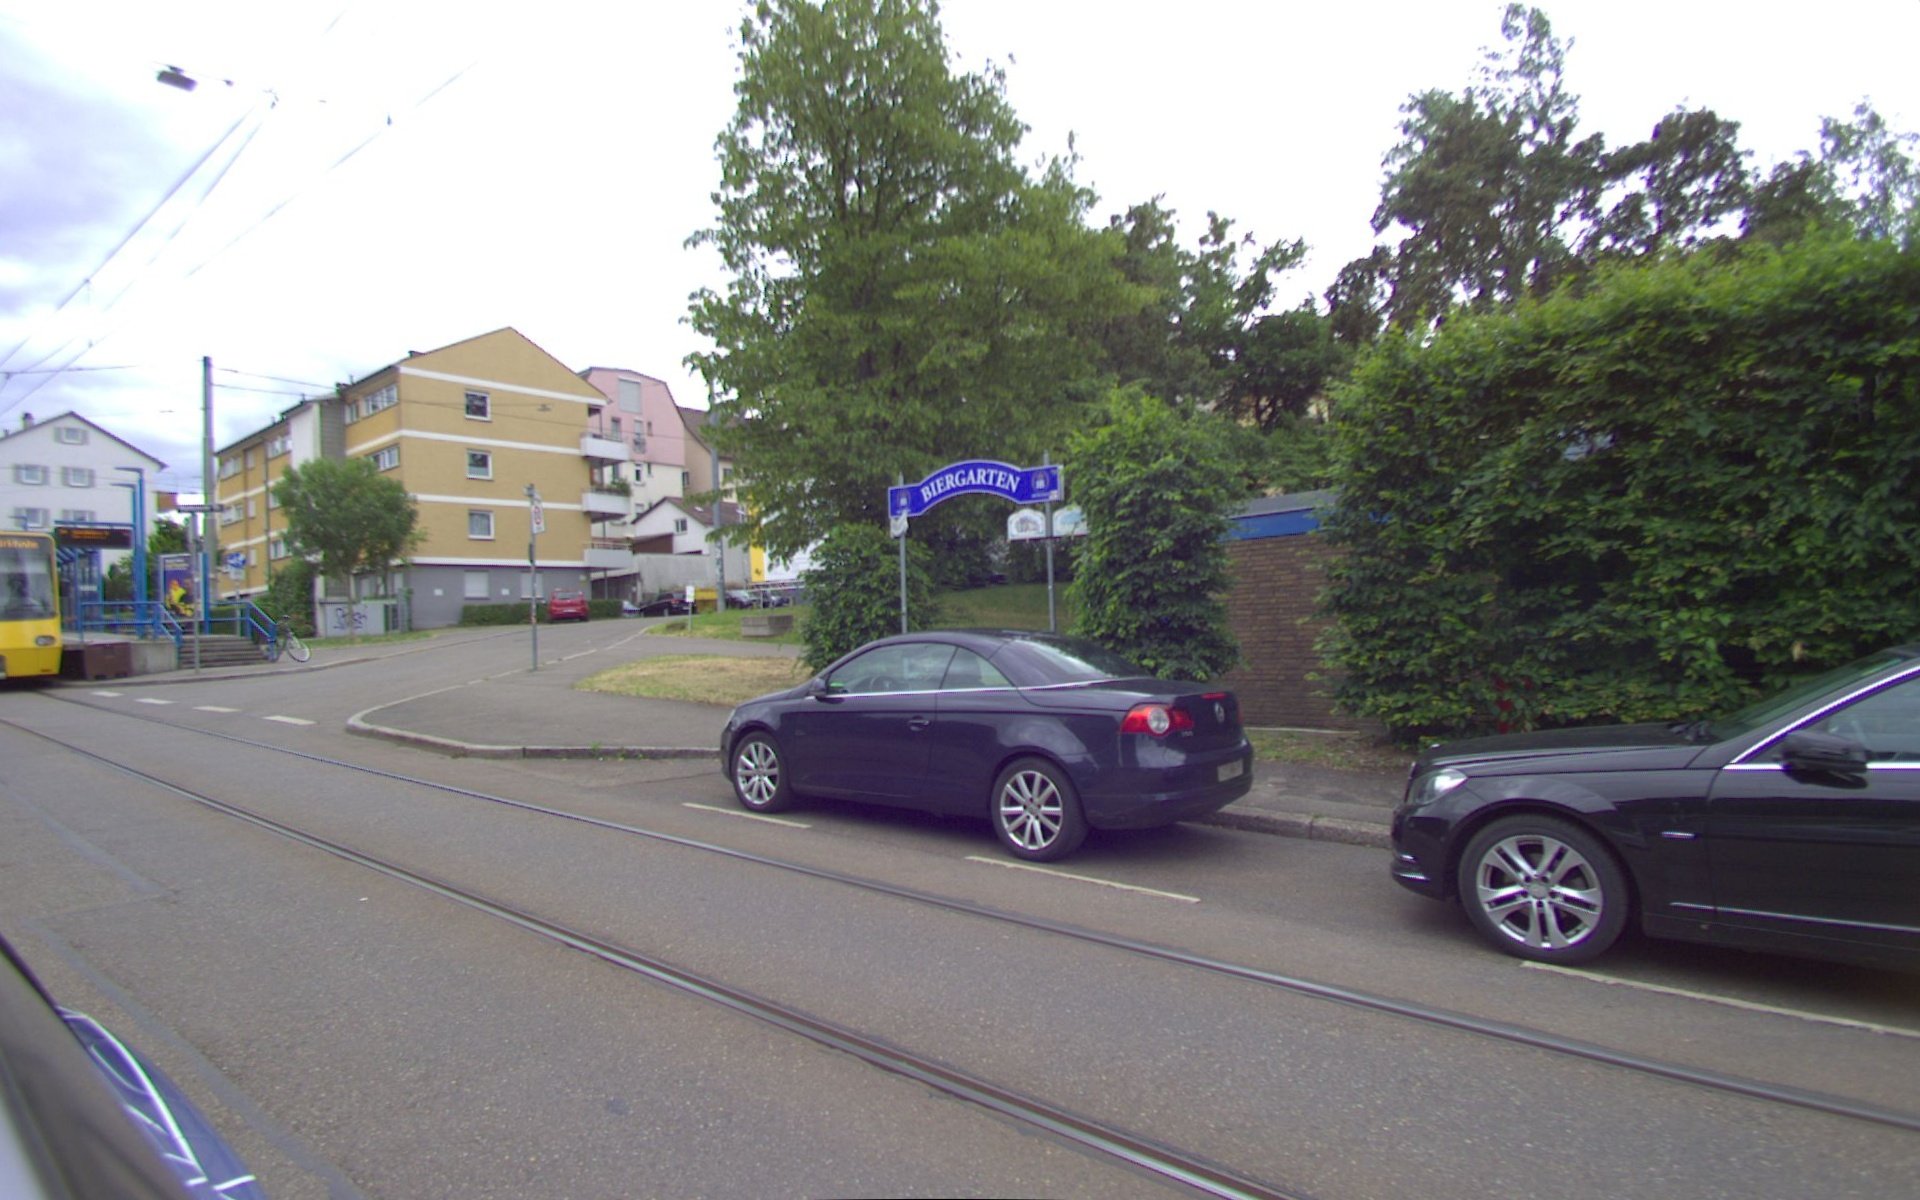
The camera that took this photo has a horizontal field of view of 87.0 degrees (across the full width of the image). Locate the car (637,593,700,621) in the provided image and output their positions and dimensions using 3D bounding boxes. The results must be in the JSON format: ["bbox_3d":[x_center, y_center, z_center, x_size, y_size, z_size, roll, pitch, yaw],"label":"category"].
[{"bbox_3d":[-16.004,0.398,55.495,1.814,1.475,4.006,-1,0,-41],"label":"car"}]

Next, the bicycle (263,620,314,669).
[{"bbox_3d":[-17.060,1.112,25.697,1.487,1.190,0.704,0,0,40],"label":"bicycle"}]

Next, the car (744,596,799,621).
[{"bbox_3d":[-11.521,0.535,61.722,1.812,1.475,4.010,-1,0,-35],"label":"car"}]

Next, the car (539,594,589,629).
[{"bbox_3d":[-17.902,0.522,45.694,1.810,1.475,4.013,-1,0,-25],"label":"car"}]

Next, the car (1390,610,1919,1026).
[{"bbox_3d":[4.201,0.741,3.822,4.435,1.397,1.822,0,0,39],"label":"car"}]

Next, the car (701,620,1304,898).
[{"bbox_3d":[0.127,0.879,7.347,4.156,1.415,1.772,0,-1,39],"label":"car"}]

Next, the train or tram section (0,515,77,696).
[{"bbox_3d":[-24.305,0.206,24.261,12.119,3.664,2.821,-1,0,40],"label":"train or tram section"}]

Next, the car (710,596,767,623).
[{"bbox_3d":[-12.998,0.560,59.241,1.812,1.475,4.010,-1,0,-35],"label":"car"}]
